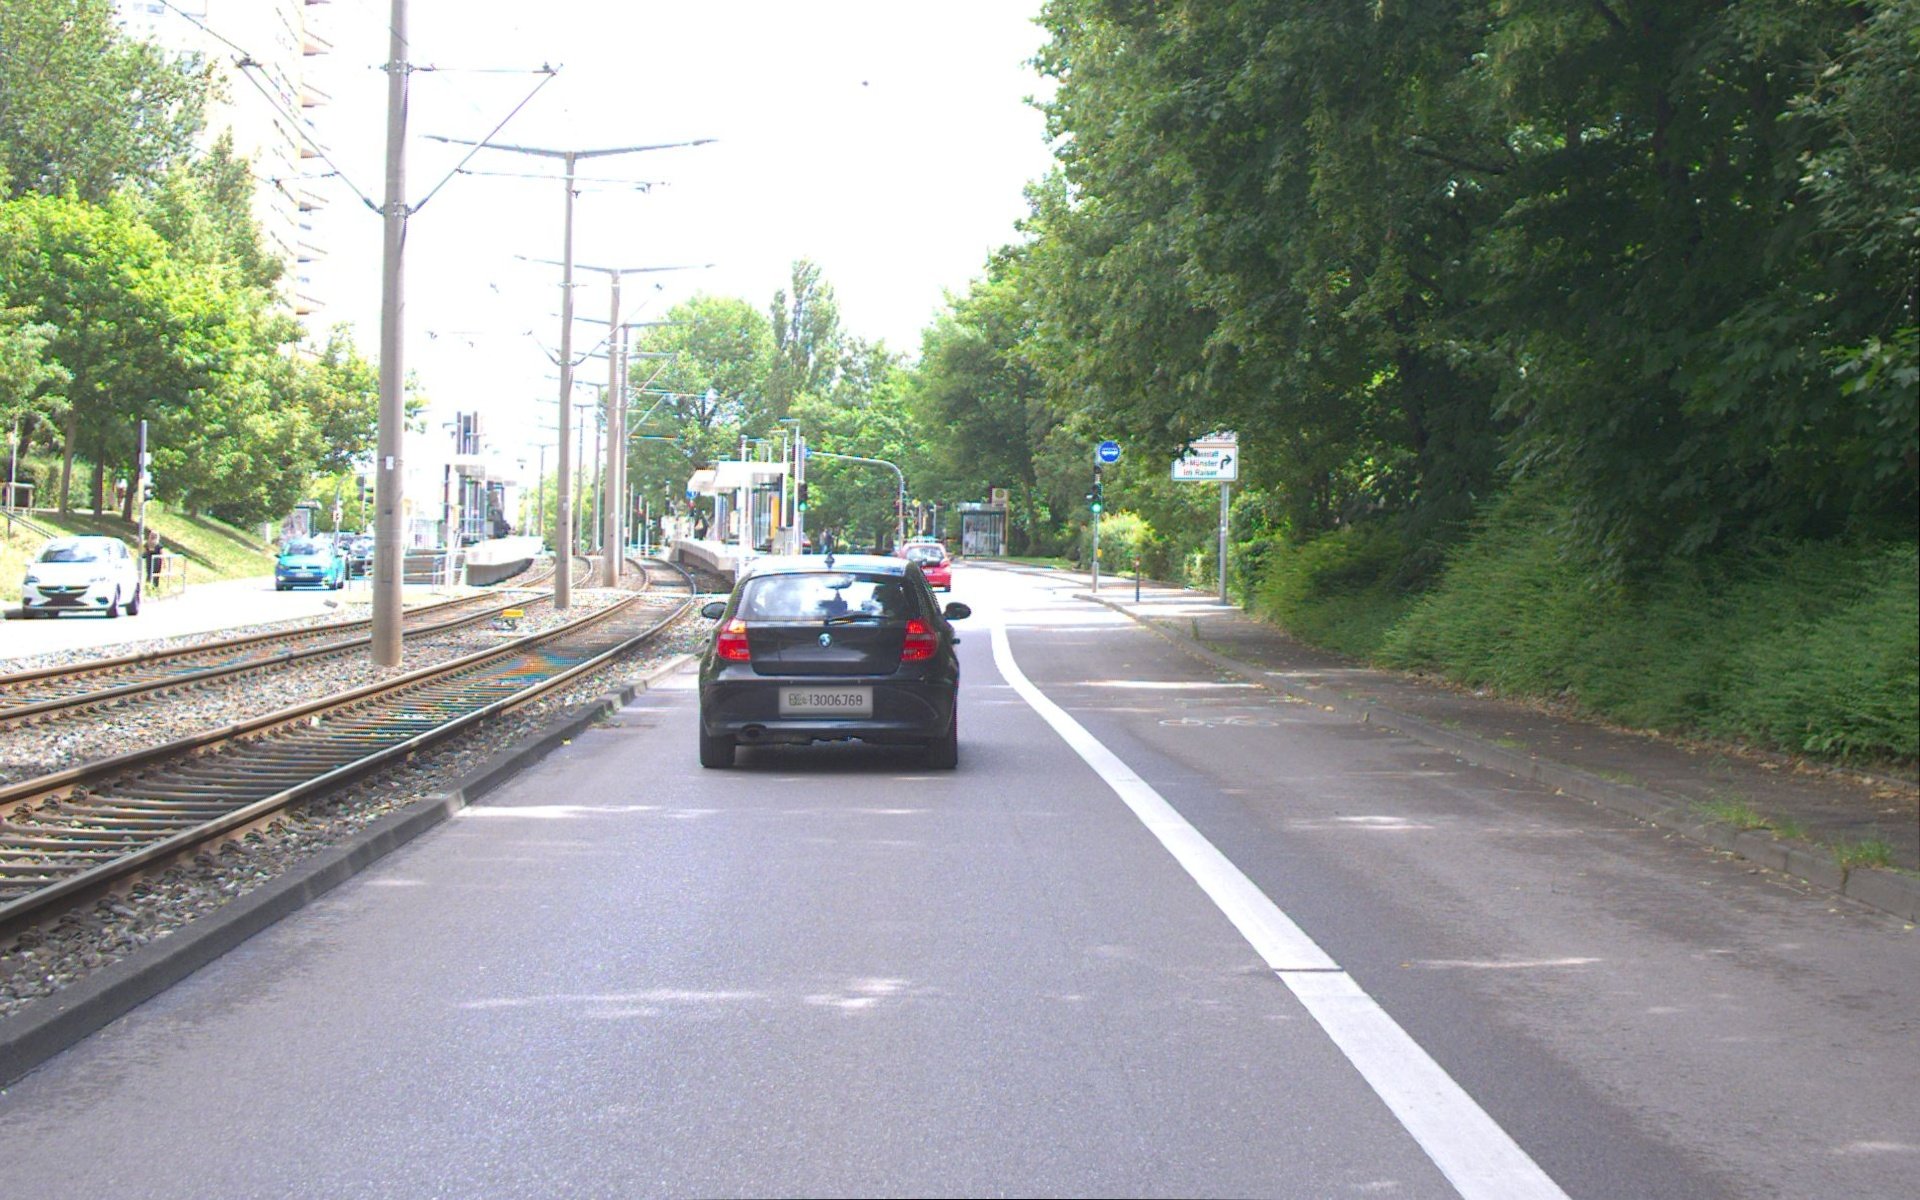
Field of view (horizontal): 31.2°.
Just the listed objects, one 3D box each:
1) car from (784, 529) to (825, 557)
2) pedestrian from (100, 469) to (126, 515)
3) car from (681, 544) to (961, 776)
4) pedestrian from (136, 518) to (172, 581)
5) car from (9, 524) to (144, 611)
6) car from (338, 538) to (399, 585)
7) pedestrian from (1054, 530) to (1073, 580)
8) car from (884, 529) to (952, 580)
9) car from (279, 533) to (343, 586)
[{"bbox_3d":[-8.344,-3.063,184.230,1.909,1.454,4.003,1,1,-6],"label":"car"},{"bbox_3d":[-28.272,-3.594,114.754,0.634,1.529,0.634,1,1,17],"label":"pedestrian"},{"bbox_3d":[-0.965,0.350,23.893,1.781,1.454,3.921,0,1,-2],"label":"car"},{"bbox_3d":[-19.669,-1.225,83.869,0.767,1.529,0.717,0,1,-20],"label":"pedestrian"},{"bbox_3d":[-16.201,-0.622,63.204,1.781,1.527,4.245,0,1,-6],"label":"car"},{"bbox_3d":[-20.109,-1.330,116.990,1.715,1.559,3.698,1,1,-4],"label":"car"},{"bbox_3d":[4.233,-1.844,141.028,0.740,2.007,0.681,1,1,0],"label":"pedestrian"},{"bbox_3d":[-1.270,-1.348,101.591,1.781,1.454,3.922,1,1,-4],"label":"car"},{"bbox_3d":[-18.124,-1.151,95.902,1.715,1.437,3.944,0,1,-11],"label":"car"}]
